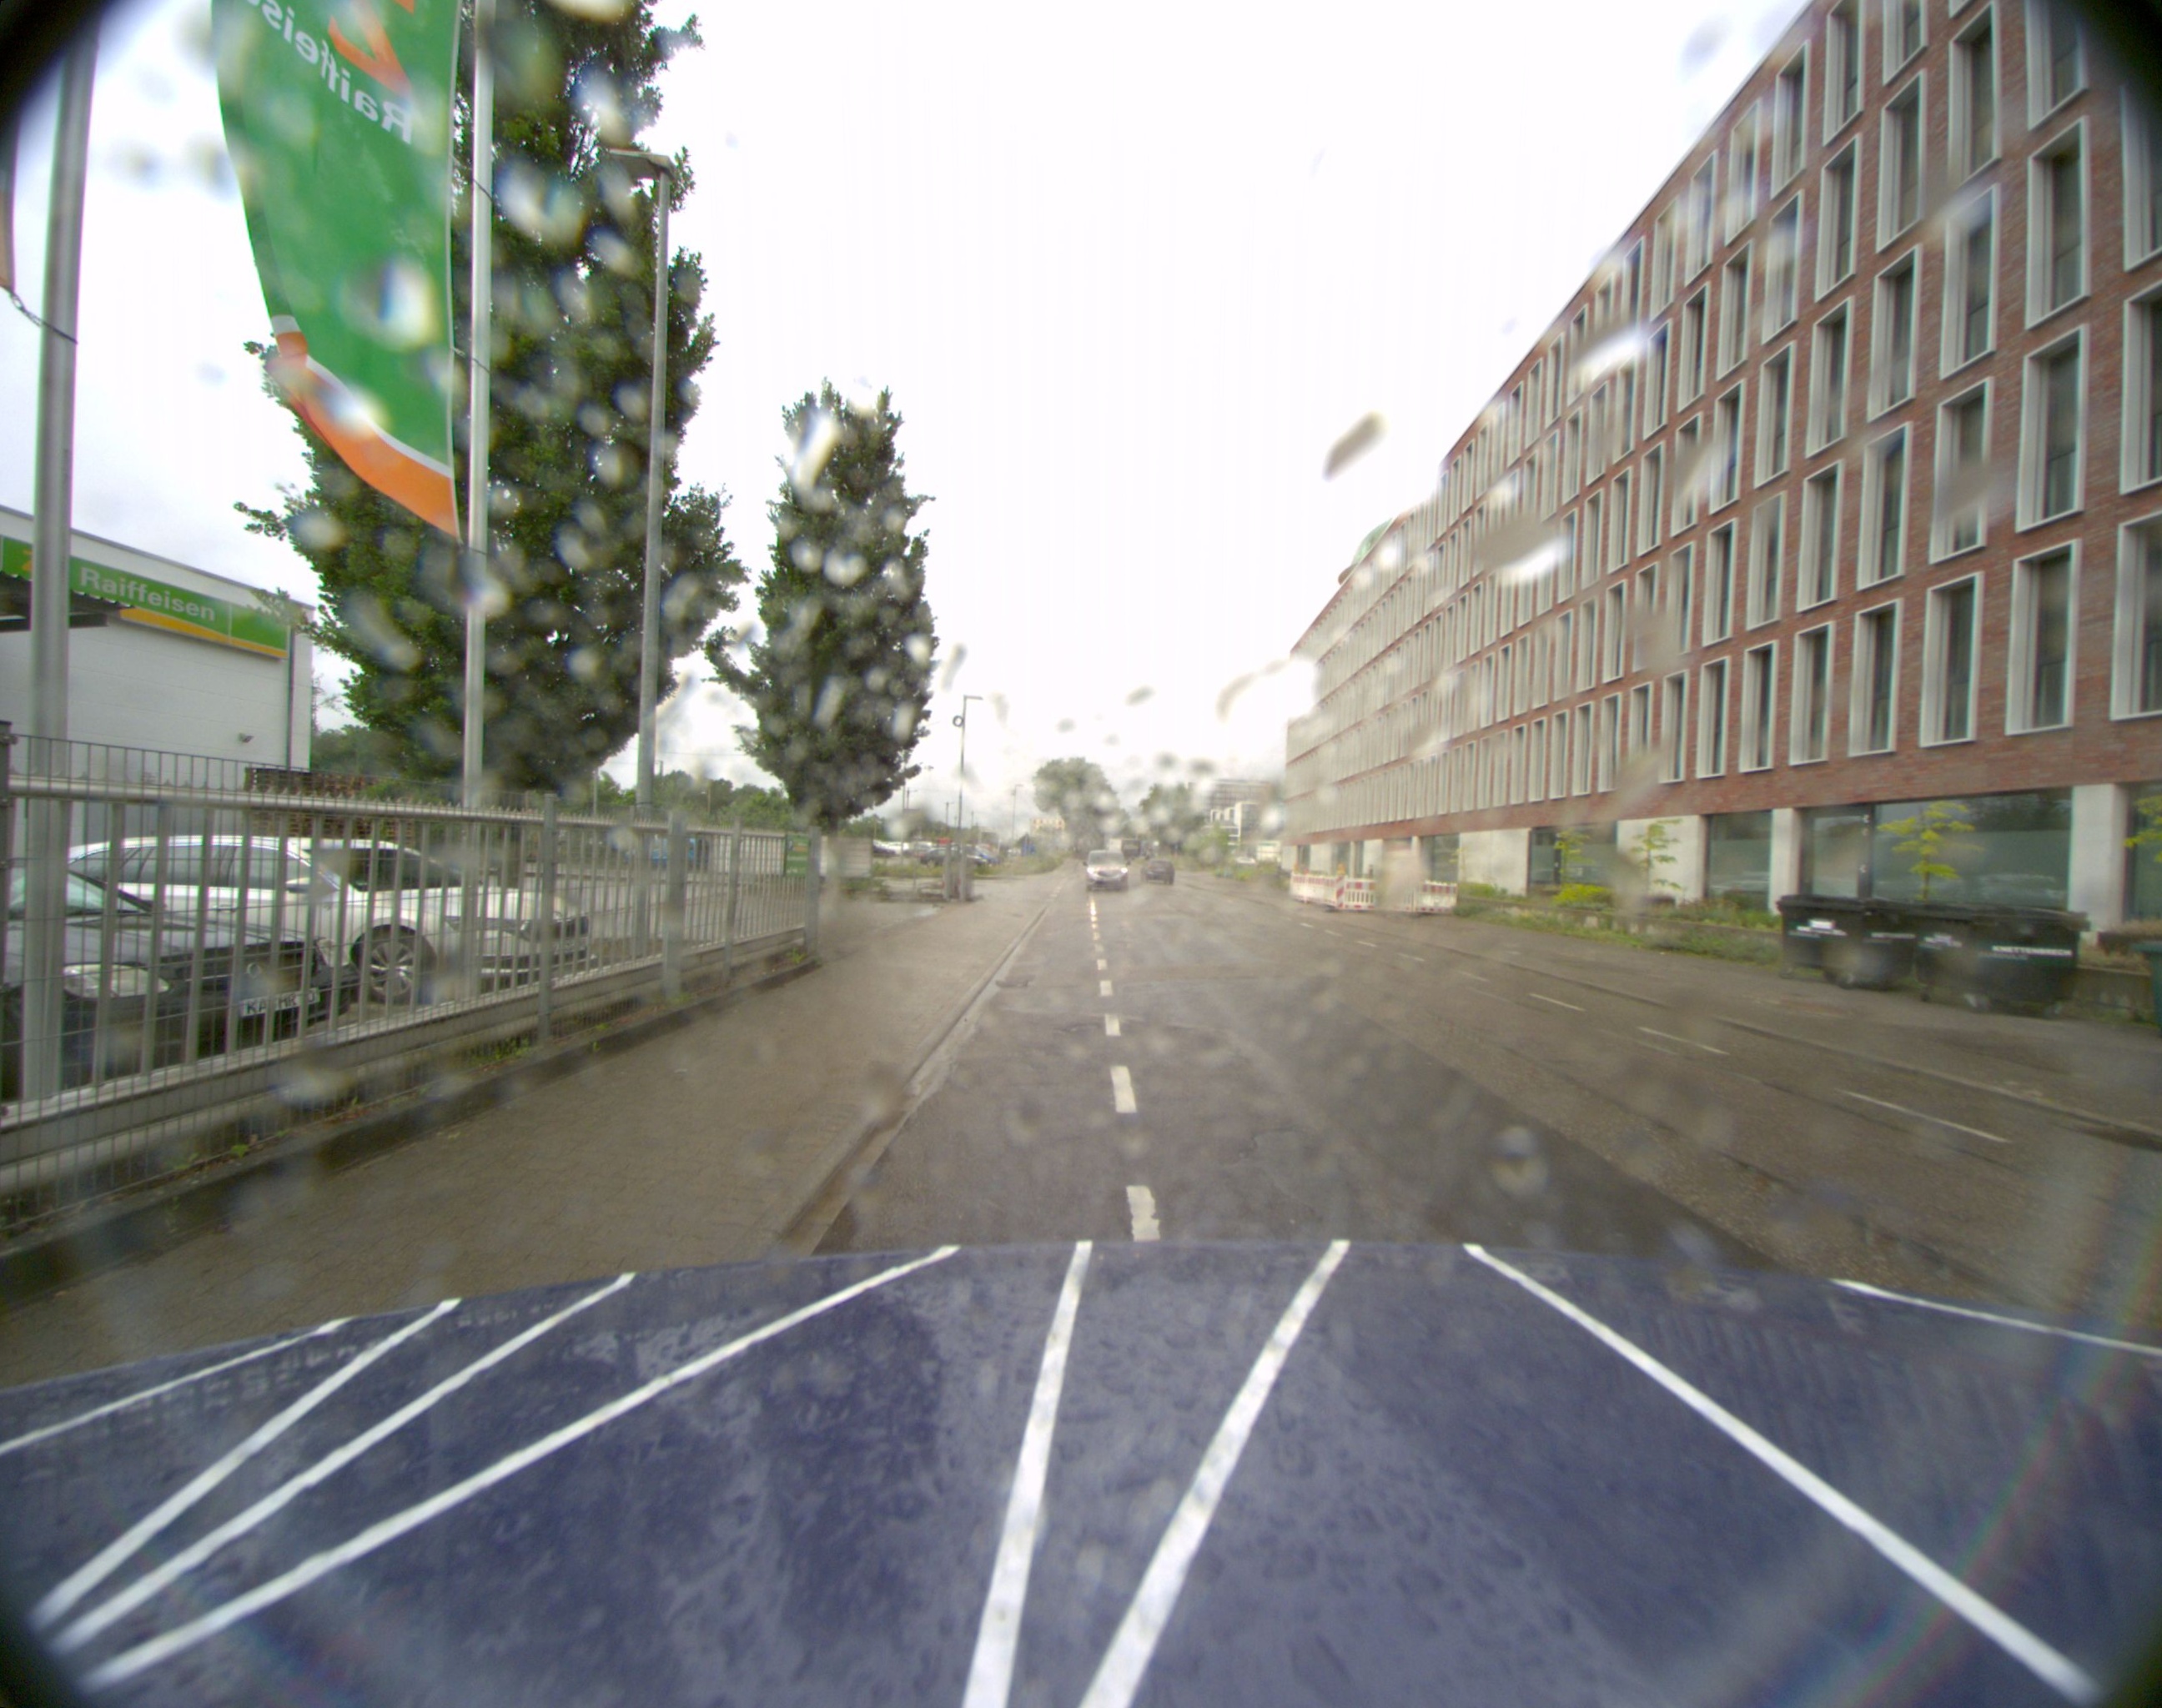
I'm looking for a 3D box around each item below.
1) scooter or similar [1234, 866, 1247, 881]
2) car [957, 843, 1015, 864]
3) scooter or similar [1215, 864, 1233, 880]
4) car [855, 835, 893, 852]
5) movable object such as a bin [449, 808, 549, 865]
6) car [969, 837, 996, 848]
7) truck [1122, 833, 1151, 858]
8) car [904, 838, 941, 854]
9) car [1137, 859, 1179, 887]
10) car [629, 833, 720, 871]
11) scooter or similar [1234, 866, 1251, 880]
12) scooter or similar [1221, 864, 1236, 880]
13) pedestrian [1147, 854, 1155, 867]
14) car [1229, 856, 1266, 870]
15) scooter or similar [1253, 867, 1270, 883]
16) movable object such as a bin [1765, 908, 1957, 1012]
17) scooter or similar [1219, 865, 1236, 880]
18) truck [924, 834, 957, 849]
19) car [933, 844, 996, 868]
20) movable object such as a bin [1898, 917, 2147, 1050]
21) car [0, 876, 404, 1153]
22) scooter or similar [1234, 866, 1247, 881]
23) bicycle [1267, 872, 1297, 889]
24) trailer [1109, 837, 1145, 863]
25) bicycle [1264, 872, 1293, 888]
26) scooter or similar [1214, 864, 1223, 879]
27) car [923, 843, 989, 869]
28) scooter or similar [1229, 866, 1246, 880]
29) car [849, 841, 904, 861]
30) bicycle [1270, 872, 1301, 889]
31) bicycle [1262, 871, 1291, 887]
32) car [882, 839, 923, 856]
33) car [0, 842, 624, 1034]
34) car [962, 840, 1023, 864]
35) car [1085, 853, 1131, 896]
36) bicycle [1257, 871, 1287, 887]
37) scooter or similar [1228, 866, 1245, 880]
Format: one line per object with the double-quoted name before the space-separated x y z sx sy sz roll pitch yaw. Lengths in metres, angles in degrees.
"scooter or similar" 13.280 1.611 63.321 0.466 1.223 1.211 4 1 43
"car" -7.527 -0.075 60.193 4.306 1.508 1.819 2 2 1
"scooter or similar" 12.015 1.507 63.974 1.317 1.223 0.468 4 1 30
"car" -25.444 -1.296 93.304 4.071 1.650 1.831 5 2 -1
"movable object such as a bin" -32.524 -0.959 42.557 3.997 2.975 2.000 2 1 0
"car" -15.959 -1.852 123.177 3.961 1.481 1.778 4 2 3
"truck" 11.244 -1.708 153.949 3.295 4.627 6.046 4 1 31
"car" -19.535 -0.974 93.740 3.911 1.575 1.786 5 2 4
"car" 4.905 1.177 48.988 1.765 1.559 4.147 4 0 -6
"car" -22.619 -0.096 42.365 3.997 1.911 1.831 2 0 0
"scooter or similar" 13.919 1.646 65.572 1.319 1.171 0.467 3 1 6
"scooter or similar" 12.648 1.545 65.275 0.468 1.223 1.317 3 1 -28
"pedestrian" 9.249 0.850 100.224 0.911 1.708 1.026 3 1 1
"car" 22.805 1.228 104.215 4.533 1.632 1.999 3 1 -2
"scooter or similar" 14.483 1.698 60.821 1.228 1.201 0.418 3 1 8
"movable object such as a bin" 11.478 1.524 11.258 1.299 1.301 1.448 2 0 -5
"scooter or similar" 12.979 1.611 67.159 1.316 1.223 0.509 4 1 39
"truck" -24.958 -2.196 134.716 5.301 2.354 2.153 3 1 0
"car" -8.295 0.129 54.295 4.192 1.501 1.890 2 2 1
"movable object such as a bin" 11.533 1.525 9.435 1.375 1.301 1.451 2 0 22
"car" -6.761 0.802 4.537 3.948 1.249 1.619 1 1 -1
"scooter or similar" 13.126 1.619 62.526 0.466 1.201 1.211 4 1 43
"bicycle" 13.622 1.778 51.491 1.864 1.071 0.544 1 1 0
"trailer" 9.093 -0.736 147.676 3.297 4.627 13.752 3 1 18
"bicycle" 13.608 1.775 52.349 1.864 1.071 0.544 1 1 0
"scooter or similar" 12.005 1.554 66.504 0.467 1.223 1.320 3 1 -2
"car" -8.428 0.127 51.379 4.231 1.392 1.888 5 2 -7
"scooter or similar" 13.237 1.601 64.327 1.321 1.171 0.467 3 1 -11
"car" -19.023 -0.303 70.910 4.633 1.706 2.017 2 2 -5
"bicycle" 13.624 1.786 50.639 1.864 1.071 0.544 1 1 0
"bicycle" 13.610 1.766 53.000 1.864 1.071 0.544 1 1 0
"car" -19.368 -0.760 82.734 3.838 1.476 1.928 5 2 4
"car" -7.304 0.694 7.234 4.715 1.454 1.890 2 0 -1
"car" -7.382 -0.212 63.830 4.690 1.725 2.128 3 2 5
"car" 1.131 0.851 33.622 1.838 1.714 4.172 3 0 0
"bicycle" 13.560 1.745 53.849 1.953 1.071 0.620 1 1 0
"scooter or similar" 13.521 1.635 66.139 1.319 1.171 0.467 3 1 6
